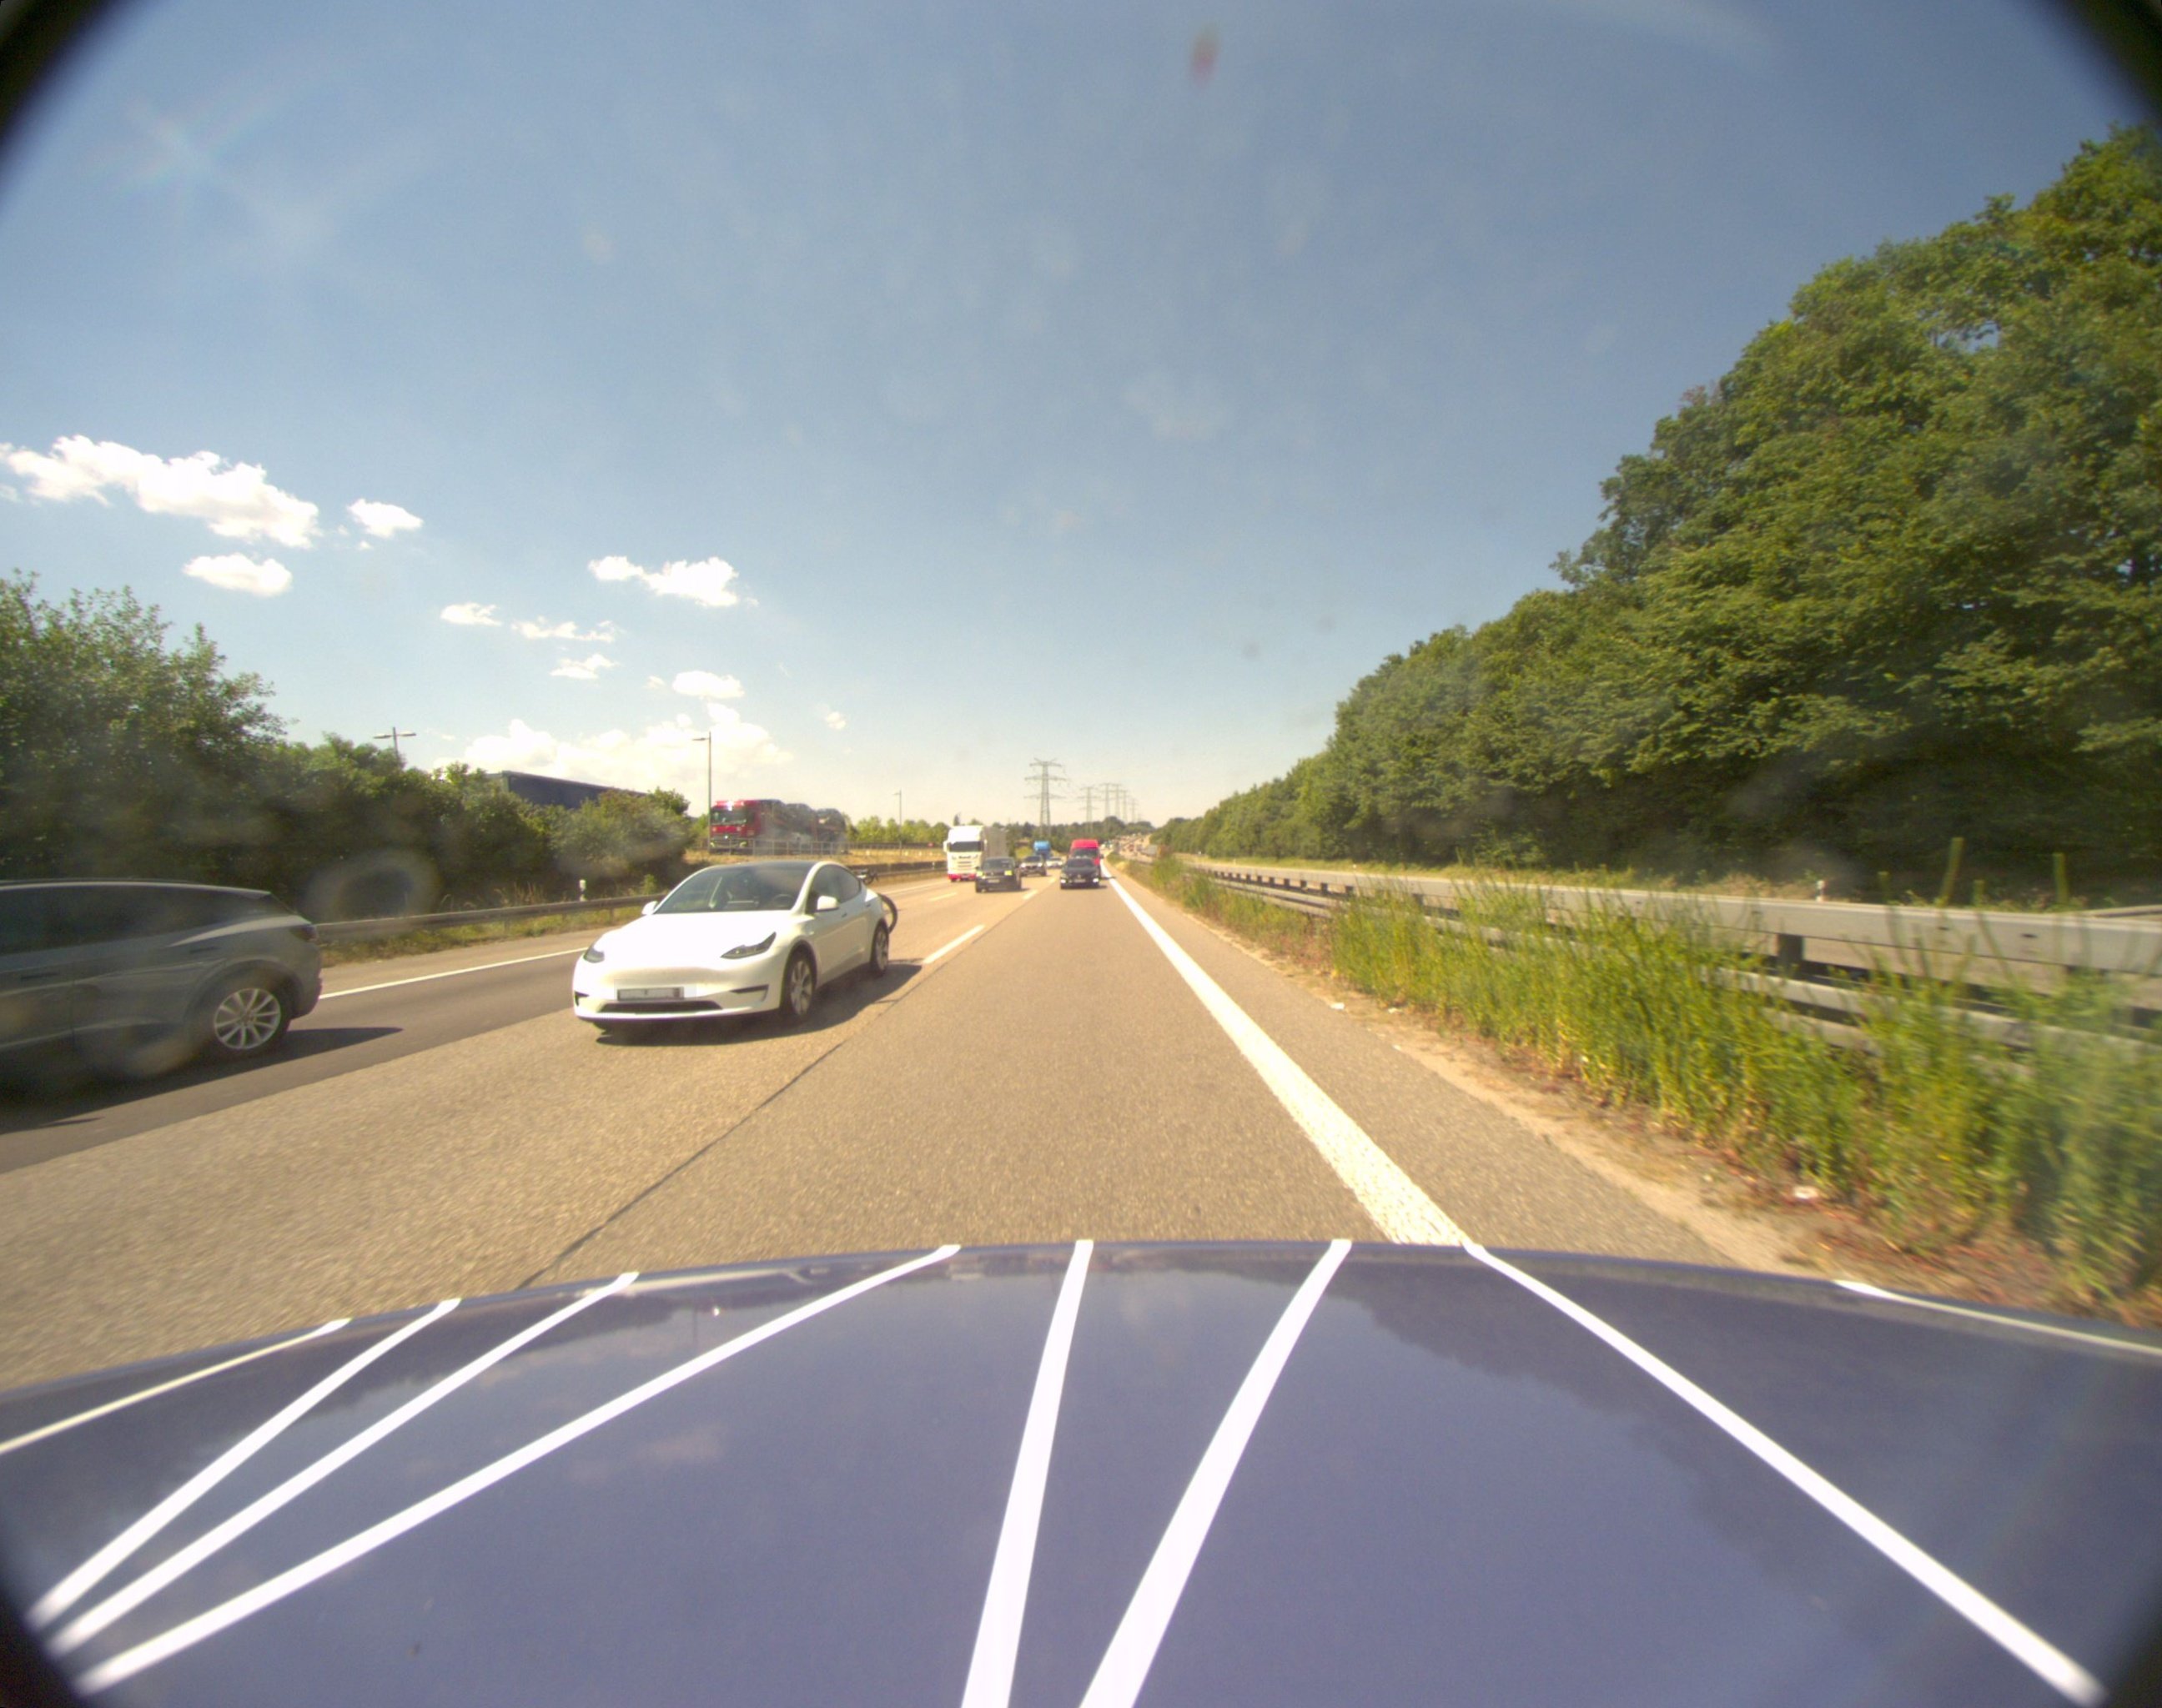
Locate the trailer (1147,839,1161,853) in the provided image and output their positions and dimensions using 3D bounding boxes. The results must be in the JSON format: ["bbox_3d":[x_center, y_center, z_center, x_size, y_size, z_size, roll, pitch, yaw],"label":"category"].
[{"bbox_3d":[23.281,-2.453,243.813,3.462,4.255,7.968,-2,1,0],"label":"trailer"}]

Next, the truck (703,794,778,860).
[{"bbox_3d":[-21.104,-1.642,47.264,2.608,3.805,3.999,-2,1,1],"label":"truck"}]

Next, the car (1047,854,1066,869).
[{"bbox_3d":[-2.856,0.857,89.597,1.878,1.591,3.688,0,1,3],"label":"car"}]

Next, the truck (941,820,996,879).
[{"bbox_3d":[-7.828,-0.341,53.367,3.076,3.885,3.847,-2,1,1],"label":"truck"}]

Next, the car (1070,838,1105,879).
[{"bbox_3d":[0.482,0.231,50.361,2.100,2.598,4.496,0,1,3],"label":"car"}]

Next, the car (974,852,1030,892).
[{"bbox_3d":[-3.647,0.802,35.707,1.955,1.637,4.047,-3,1,3],"label":"car"}]

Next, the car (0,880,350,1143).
[{"bbox_3d":[-8.110,1.135,5.091,1.873,1.627,4.585,-2,1,1],"label":"car"}]

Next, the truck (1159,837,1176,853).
[{"bbox_3d":[21.116,-2.273,185.811,2.789,3.717,11.156,-2,1,1],"label":"truck"}]

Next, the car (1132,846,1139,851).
[{"bbox_3d":[18.433,-2.011,258.451,1.998,1.661,5.610,1,1,1],"label":"car"}]

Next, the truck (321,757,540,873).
[{"bbox_3d":[-25.757,-1.471,30.611,3.060,4.060,6.396,-2,1,0],"label":"truck"}]

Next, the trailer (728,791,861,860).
[{"bbox_3d":[-20.919,-1.974,57.609,2.612,4.233,18.419,-2,1,1],"label":"trailer"}]

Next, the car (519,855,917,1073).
[{"bbox_3d":[-3.610,0.922,9.110,1.955,1.627,5.599,-3,1,1],"label":"car"}]

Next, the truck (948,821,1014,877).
[{"bbox_3d":[-7.656,-0.436,60.009,3.076,3.885,12.503,-2,1,1],"label":"truck"}]

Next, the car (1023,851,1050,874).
[{"bbox_3d":[-3.486,0.639,60.185,1.749,1.691,4.088,0,1,3],"label":"car"}]

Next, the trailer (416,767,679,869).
[{"bbox_3d":[-25.773,-1.603,38.491,3.060,4.060,14.254,-2,1,0],"label":"trailer"}]

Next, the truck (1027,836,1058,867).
[{"bbox_3d":[-6.443,-0.583,131.414,3.797,4.971,14.923,-2,1,2],"label":"truck"}]

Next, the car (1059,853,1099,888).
[{"bbox_3d":[-0.024,0.764,36.425,1.735,1.536,3.750,0,1,3],"label":"car"}]
